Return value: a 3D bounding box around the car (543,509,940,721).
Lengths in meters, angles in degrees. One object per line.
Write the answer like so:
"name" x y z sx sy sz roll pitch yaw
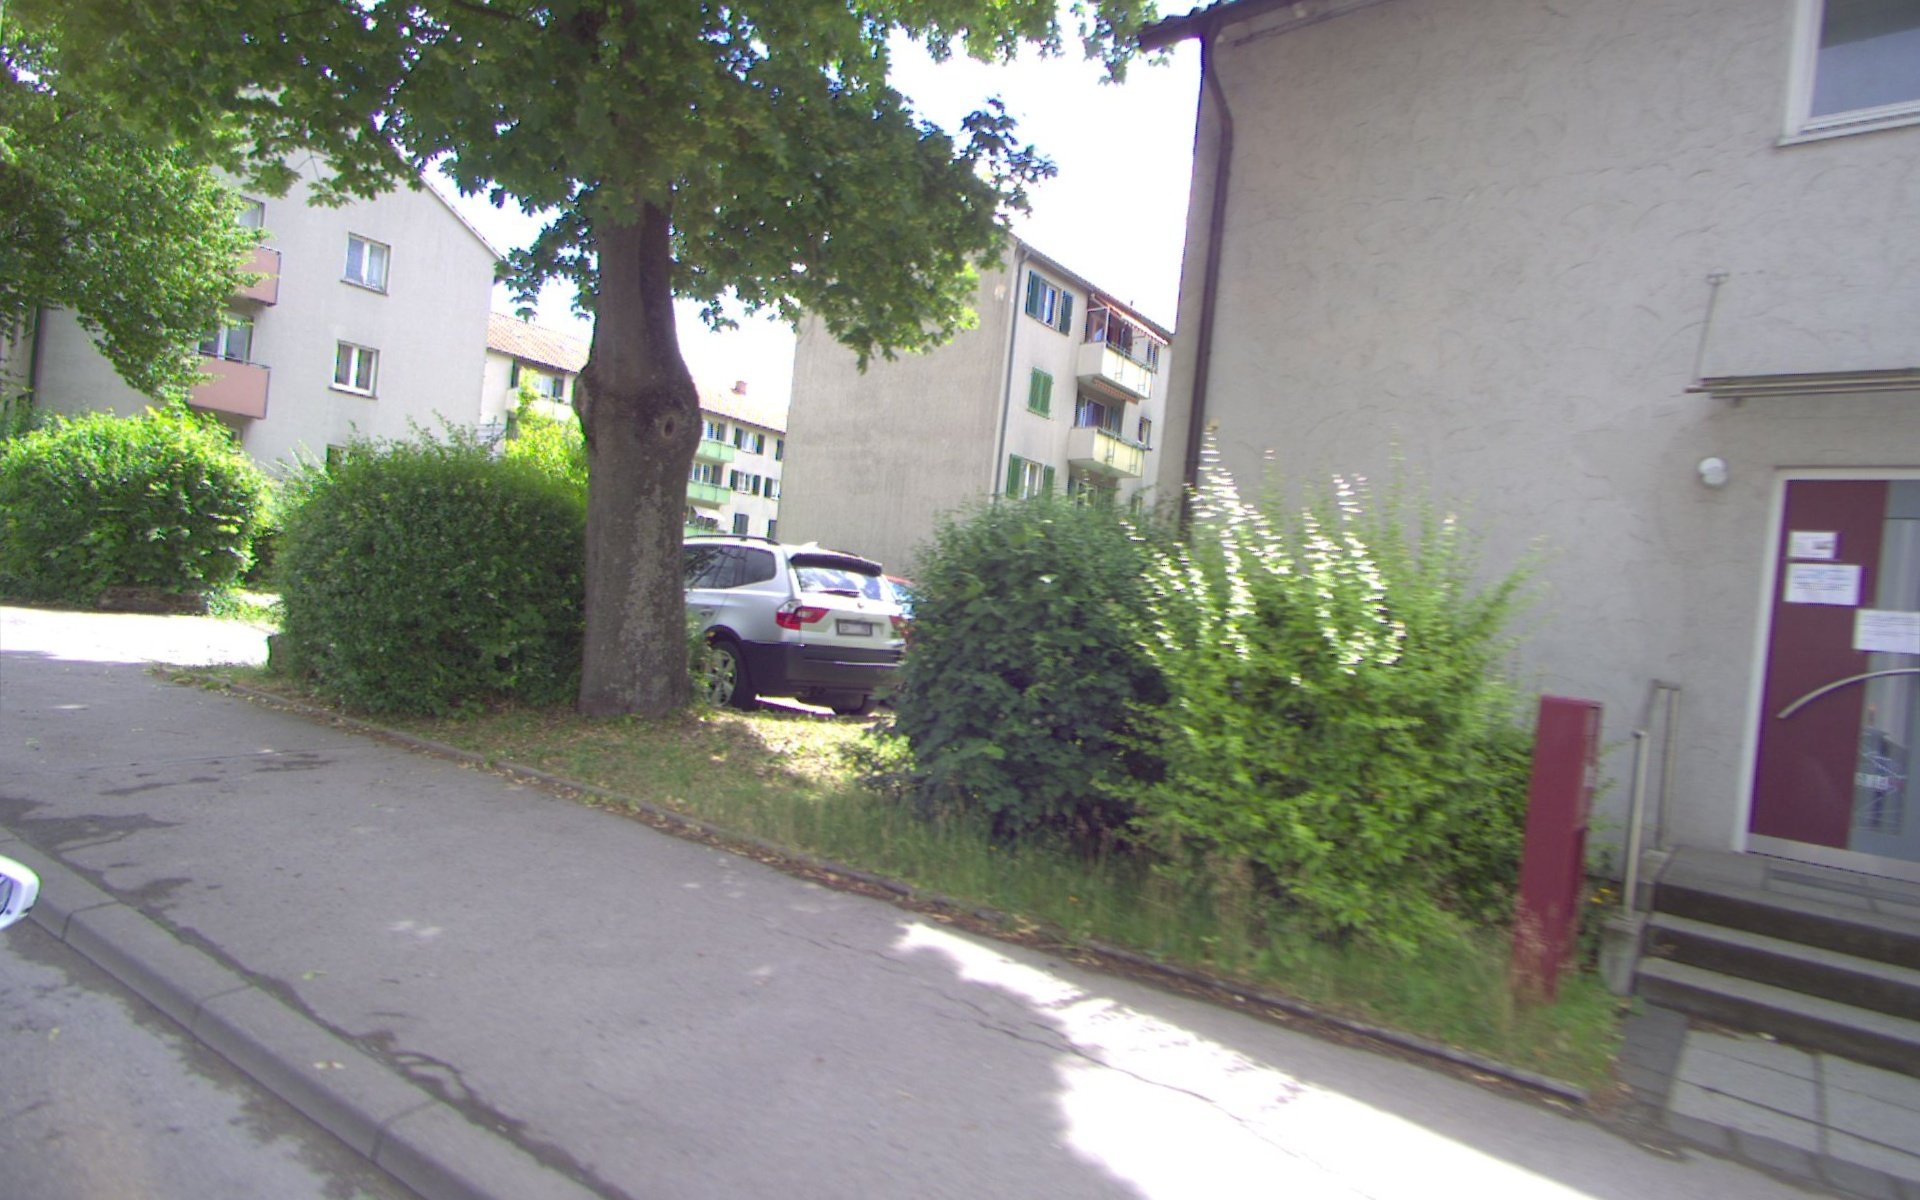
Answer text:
"car" -2.347 0.089 10.268 3.943 1.669 1.810 6 -1 40

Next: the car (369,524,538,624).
"car" -9.641 -0.517 19.032 3.643 1.499 1.659 7 1 44

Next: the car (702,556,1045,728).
"car" -1.153 0.461 12.593 3.938 1.603 1.811 6 0 36
